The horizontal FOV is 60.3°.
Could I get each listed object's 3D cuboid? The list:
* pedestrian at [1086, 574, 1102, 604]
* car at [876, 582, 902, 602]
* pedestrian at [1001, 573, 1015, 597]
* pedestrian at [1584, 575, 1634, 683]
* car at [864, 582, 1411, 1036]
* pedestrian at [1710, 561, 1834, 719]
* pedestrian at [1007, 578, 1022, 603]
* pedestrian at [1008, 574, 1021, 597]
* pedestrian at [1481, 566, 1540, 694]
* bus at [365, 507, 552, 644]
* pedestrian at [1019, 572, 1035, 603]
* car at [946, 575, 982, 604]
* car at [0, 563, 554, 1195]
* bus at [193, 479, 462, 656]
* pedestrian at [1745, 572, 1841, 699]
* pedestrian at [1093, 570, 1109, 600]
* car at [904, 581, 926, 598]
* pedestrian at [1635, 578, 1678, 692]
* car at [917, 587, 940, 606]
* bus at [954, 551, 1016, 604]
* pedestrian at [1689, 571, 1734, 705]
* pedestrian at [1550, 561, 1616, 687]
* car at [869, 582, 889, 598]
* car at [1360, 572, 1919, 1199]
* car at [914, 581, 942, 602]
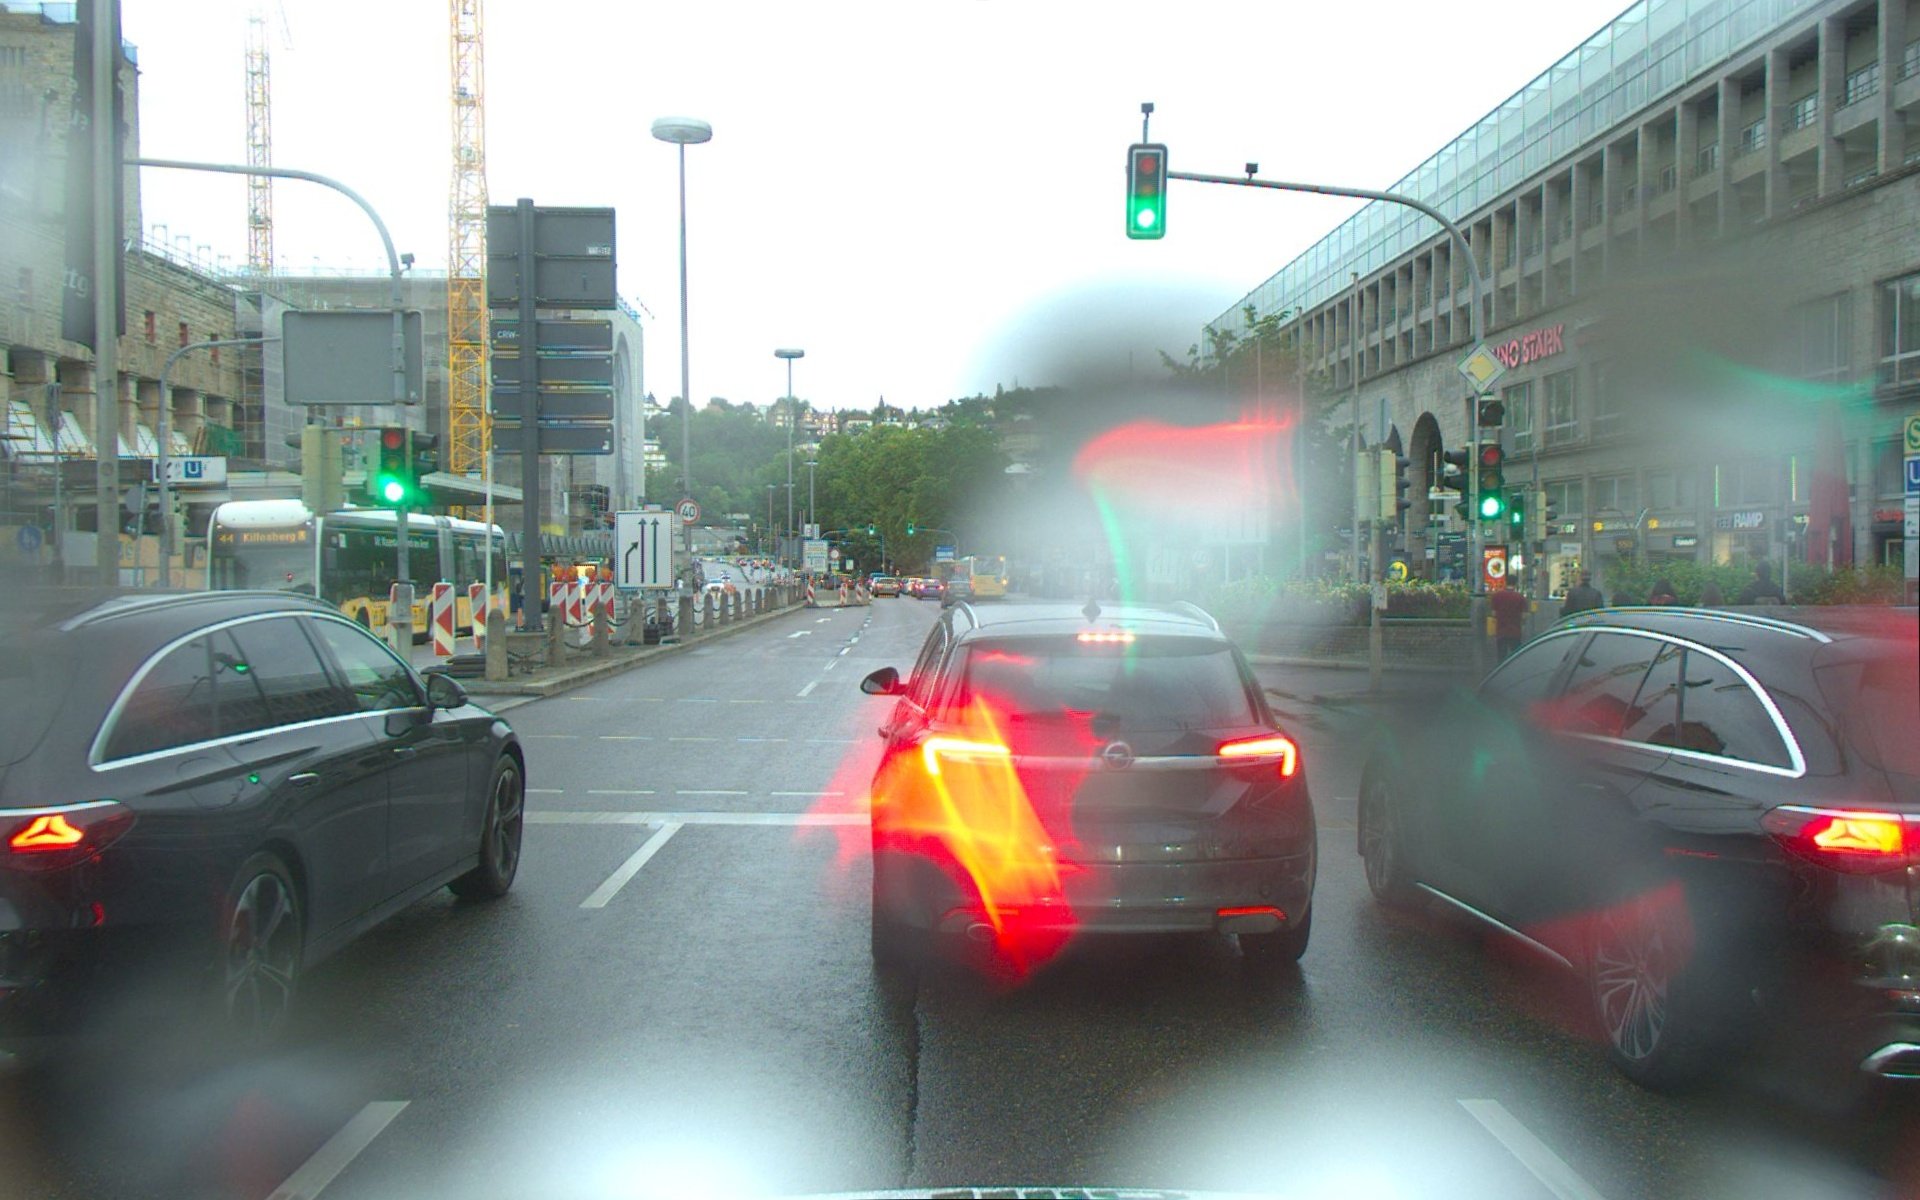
[{"bbox_3d":[7.715,-0.618,95.387,0.748,1.720,0.824,1,0,-5],"label":"pedestrian"},{"bbox_3d":[-5.291,-0.568,123.043,1.808,1.422,3.563,1,0,-1],"label":"car"},{"bbox_3d":[4.505,-1.434,155.459,1.174,2.186,1.228,1,0,0],"label":"pedestrian"},{"bbox_3d":[8.957,0.392,22.829,0.617,1.452,0.490,1,0,21],"label":"pedestrian"},{"bbox_3d":[0.564,0.713,7.605,1.837,1.512,3.999,1,0,-1],"label":"car"},{"bbox_3d":[9.528,0.463,19.425,1.074,1.782,0.653,-2,0,-4],"label":"pedestrian"},{"bbox_3d":[4.782,-0.860,145.143,1.174,2.186,1.228,1,0,0],"label":"pedestrian"},{"bbox_3d":[5.174,-1.351,158.436,1.174,2.186,1.228,1,0,0],"label":"pedestrian"},{"bbox_3d":[7.854,0.422,23.600,0.560,1.783,0.676,1,-1,42],"label":"pedestrian"},{"bbox_3d":[-14.935,-0.662,50.194,2.614,3.665,10.209,1,0,-1],"label":"bus"},{"bbox_3d":[5.340,-0.974,131.262,1.174,2.478,1.228,1,0,0],"label":"pedestrian"},{"bbox_3d":[0.184,-0.550,85.011,1.808,1.422,3.666,1,0,-1],"label":"car"},{"bbox_3d":[-2.981,0.650,6.203,1.817,1.495,4.586,1,0,-1],"label":"car"},{"bbox_3d":[-14.821,-0.674,39.872,2.614,3.665,10.237,1,0,-1],"label":"bus"},{"bbox_3d":[11.134,0.469,22.131,0.778,1.654,0.899,1,0,-4],"label":"pedestrian"},{"bbox_3d":[8.014,-0.846,94.216,0.748,1.720,0.824,1,0,-5],"label":"pedestrian"},{"bbox_3d":[-3.854,-0.882,142.322,1.808,1.422,3.563,1,0,-1],"label":"car"},{"bbox_3d":[9.586,0.469,22.752,0.456,1.544,0.449,1,0,33],"label":"pedestrian"},{"bbox_3d":[-2.496,-0.280,129.538,1.717,1.422,4.401,1,0,-1],"label":"car"},{"bbox_3d":[1.697,-1.536,120.888,4.089,3.529,14.651,1,0,-1],"label":"bus"},{"bbox_3d":[10.178,0.512,22.407,0.472,1.782,0.665,-2,0,27],"label":"pedestrian"},{"bbox_3d":[8.848,0.338,23.503,0.740,1.747,0.466,1,0,-5],"label":"pedestrian"},{"bbox_3d":[-7.366,-0.923,150.646,1.723,1.422,3.563,1,0,-1],"label":"car"},{"bbox_3d":[2.986,0.717,6.296,1.757,1.528,4.628,1,0,-1],"label":"car"},{"bbox_3d":[-2.248,-0.602,115.954,1.718,1.422,4.645,1,0,-3],"label":"car"}]
